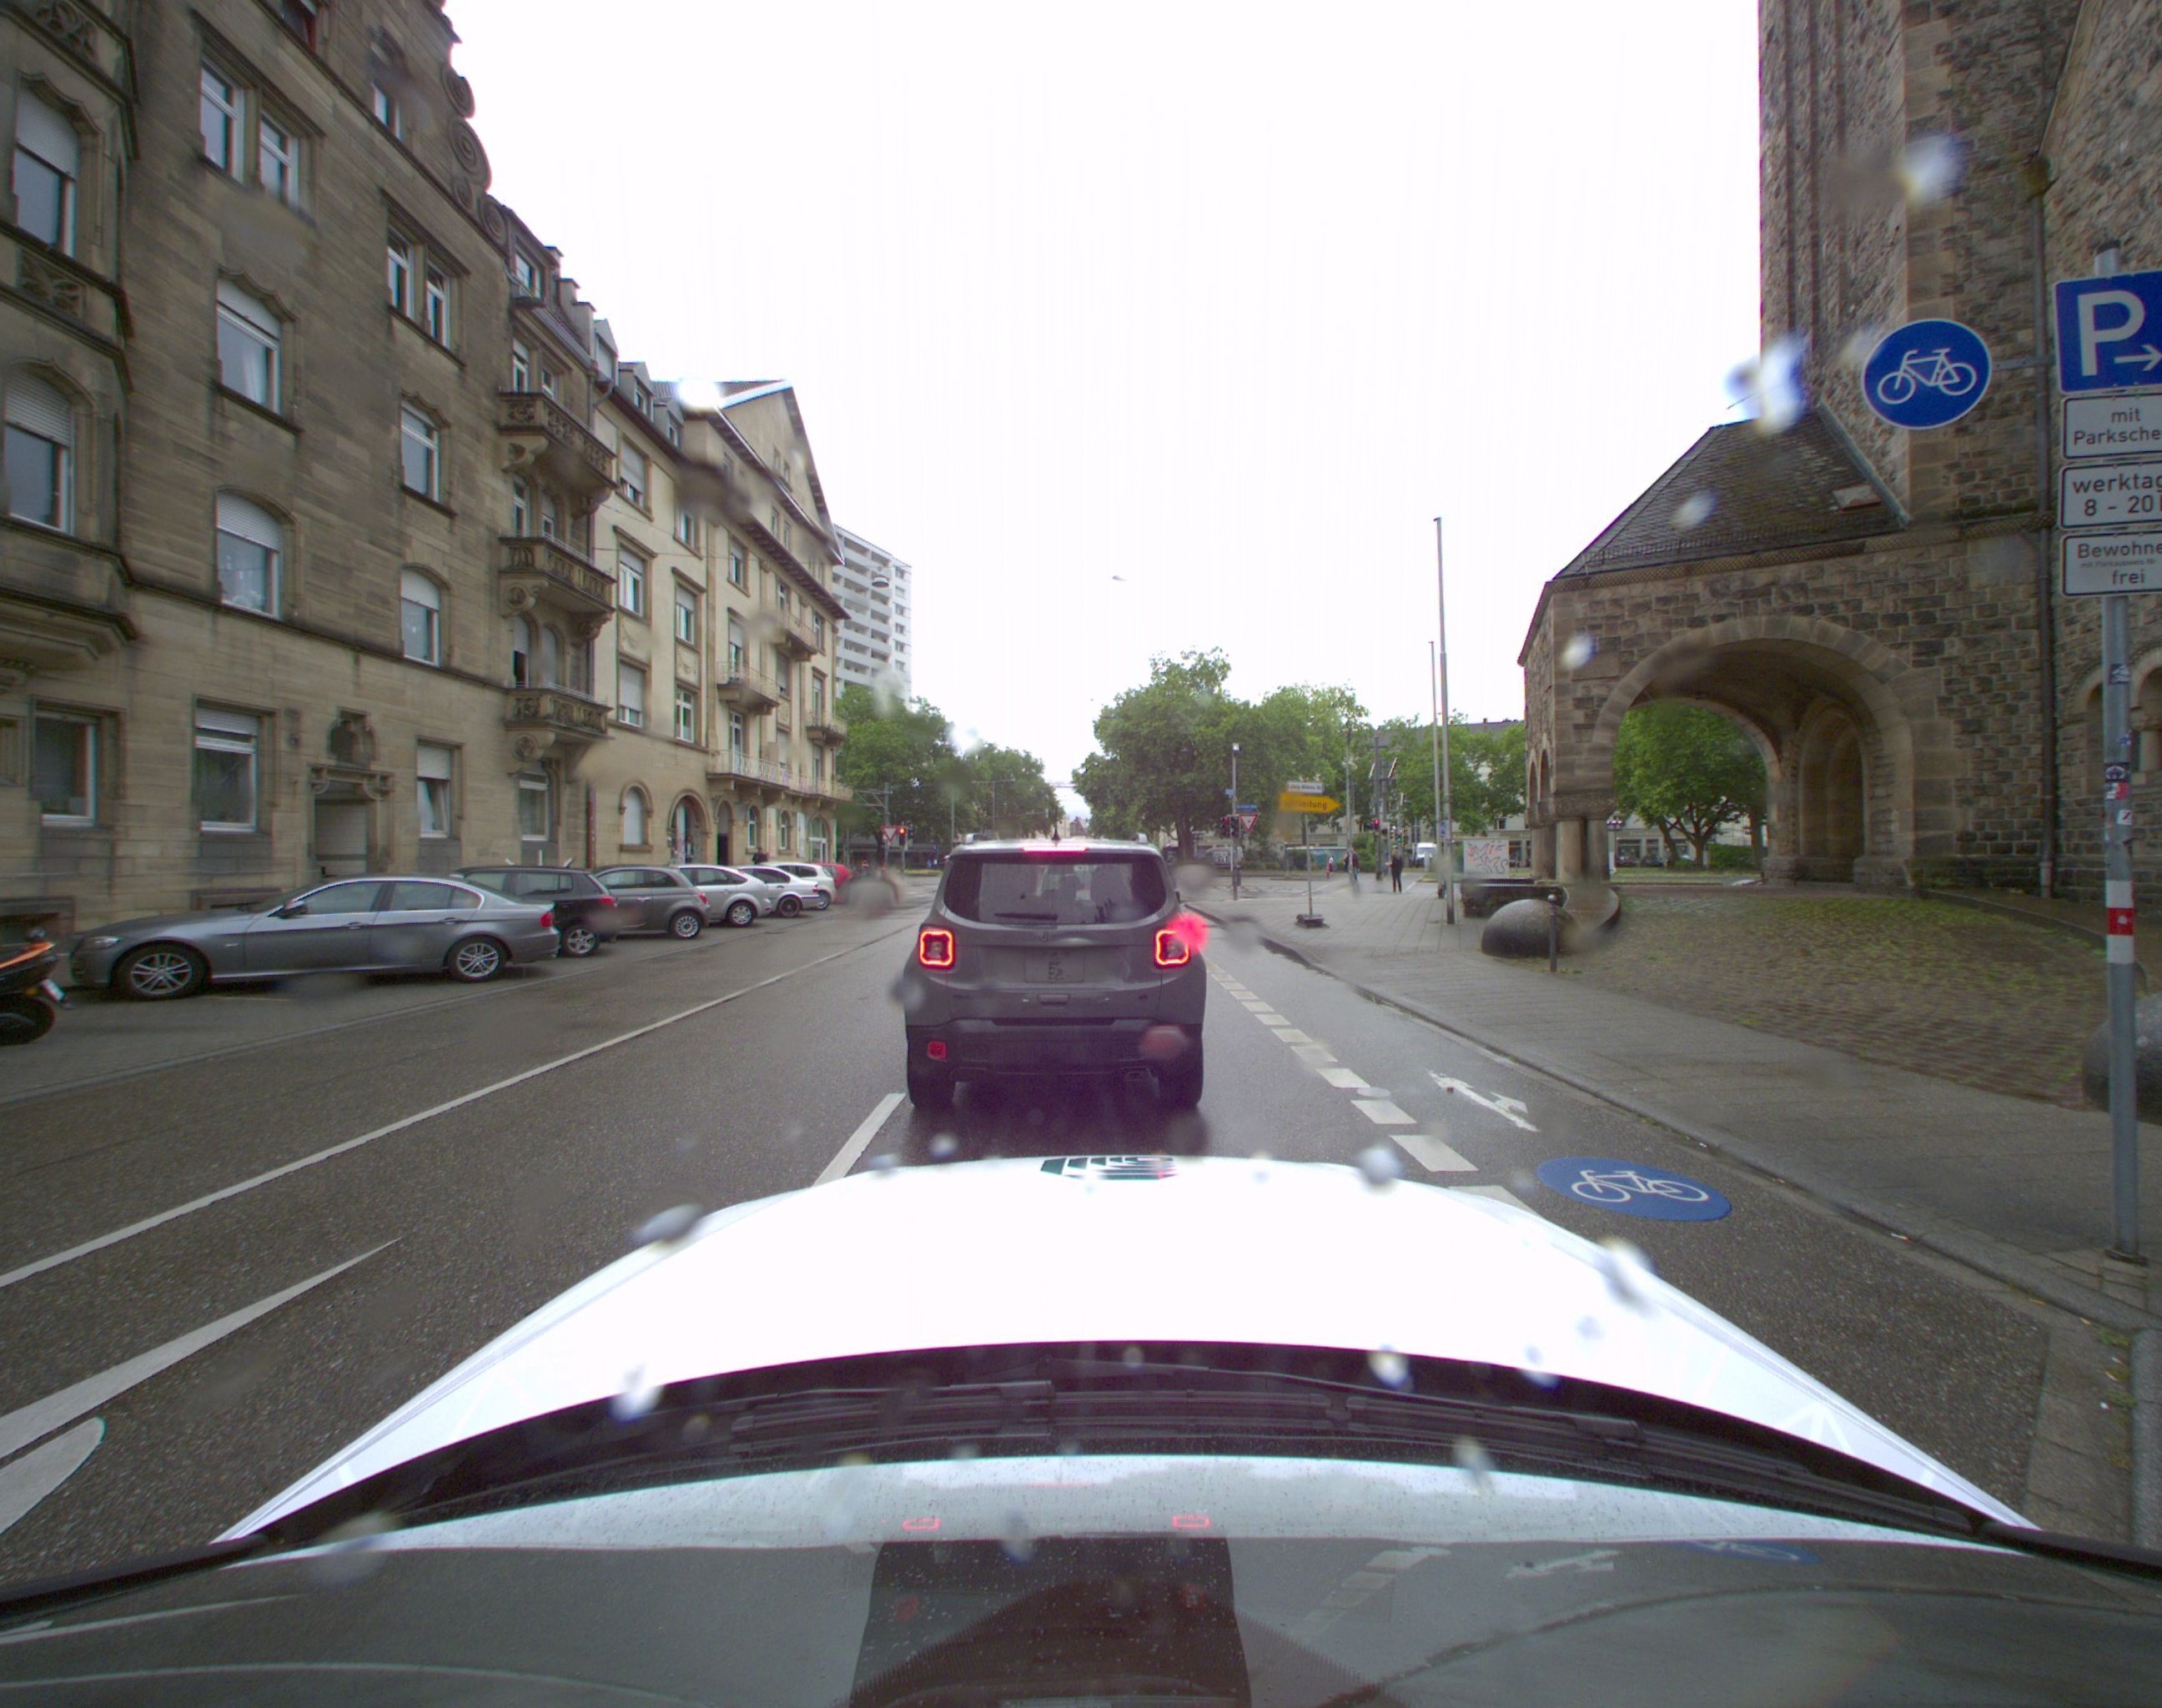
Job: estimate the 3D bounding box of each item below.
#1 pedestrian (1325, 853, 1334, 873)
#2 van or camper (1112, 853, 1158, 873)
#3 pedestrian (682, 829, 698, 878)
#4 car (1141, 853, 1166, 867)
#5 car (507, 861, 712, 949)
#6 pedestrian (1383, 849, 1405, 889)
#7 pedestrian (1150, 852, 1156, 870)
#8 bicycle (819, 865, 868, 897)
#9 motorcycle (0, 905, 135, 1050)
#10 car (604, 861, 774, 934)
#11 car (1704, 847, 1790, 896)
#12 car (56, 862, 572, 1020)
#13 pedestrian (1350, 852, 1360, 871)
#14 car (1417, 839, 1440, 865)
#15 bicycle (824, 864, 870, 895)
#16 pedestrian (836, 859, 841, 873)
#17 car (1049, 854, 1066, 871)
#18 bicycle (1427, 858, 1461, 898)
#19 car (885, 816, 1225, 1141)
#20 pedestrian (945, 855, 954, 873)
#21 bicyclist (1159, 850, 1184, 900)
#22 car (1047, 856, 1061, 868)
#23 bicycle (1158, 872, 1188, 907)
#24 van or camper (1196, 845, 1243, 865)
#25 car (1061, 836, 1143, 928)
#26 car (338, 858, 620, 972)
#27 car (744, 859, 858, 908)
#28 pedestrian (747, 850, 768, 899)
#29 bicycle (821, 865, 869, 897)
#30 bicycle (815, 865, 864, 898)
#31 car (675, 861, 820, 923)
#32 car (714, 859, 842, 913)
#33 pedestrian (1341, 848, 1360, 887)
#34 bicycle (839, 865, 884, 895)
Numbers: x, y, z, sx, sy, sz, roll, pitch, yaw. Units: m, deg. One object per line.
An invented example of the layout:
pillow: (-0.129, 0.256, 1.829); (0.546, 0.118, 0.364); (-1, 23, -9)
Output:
pedestrian: (20.208, 0.763, 66.198); (0.607, 1.603, 0.497); (-1, -1, 26)
van or camper: (8.216, 1.398, 124.762); (6.466, 2.912, 2.509); (-1, 0, 26)
pedestrian: (-14.407, -0.016, 30.014); (0.365, 1.823, 0.347); (-2, -1, -1)
car: (10.673, 0.862, 119.389); (3.411, 2.014, 1.554); (-2, -1, 15)
car: (-9.537, 0.952, 16.558); (3.419, 1.558, 1.634); (-1, 0, -38)
pedestrian: (13.042, 0.632, 33.899); (0.775, 1.645, 0.659); (-2, -1, 25)
pedestrian: (8.205, 0.820, 92.602); (0.646, 2.014, 0.484); (-1, -1, 14)
bicycle: (-9.594, 1.077, 32.886); (1.804, 1.266, 0.498); (-1, -1, -1)
motorcycle: (-9.408, 1.027, 6.768); (1.880, 1.162, 0.627); (2, -2, -36)
car: (-9.388, 0.976, 19.585); (3.419, 1.558, 1.686); (-1, 0, -38)
car: (21.463, 0.521, 26.356); (1.389, 1.479, 3.239); (-1, 0, 25)
car: (-9.410, 0.927, 10.544); (4.573, 1.545, 1.668); (-1, 0, -42)
pedestrian: (22.413, 0.603, 66.561); (0.667, 1.554, 0.766); (-1, -2, 29)
car: (35.513, -0.207, 83.202); (1.889, 2.555, 4.815); (-1, 0, 25)
bicycle: (-9.924, 1.081, 34.606); (1.758, 1.266, 0.608); (-1, -1, -1)
pedestrian: (-25.984, 1.300, 87.326); (0.443, 1.530, 0.640); (-1, -1, -15)
car: (-2.445, 0.870, 84.662); (1.717, 1.739, 3.726); (-1, 0, -2)
bicycle: (10.971, 0.703, 24.657); (0.327, 1.154, 2.079); (-1, 0, 7)
car: (-0.113, 0.669, 6.285); (1.769, 1.687, 3.848); (-2, 0, 1)
pedestrian: (-12.939, 0.981, 80.187); (0.613, 1.826, 0.698); (-2, -1, 21)
bicyclist: (3.014, 0.696, 27.246); (0.684, 1.617, 0.884); (-2, 0, 0)
car: (-3.616, 1.063, 110.248); (1.810, 1.670, 3.916); (-1, 0, -3)
bicycle: (3.035, 1.150, 27.141); (0.689, 1.021, 2.658); (-2, 0, 1)
van or camper: (16.043, 0.142, 94.619); (5.234, 2.315, 2.093); (0, 0, 5)
car: (0.508, 0.623, 19.940); (1.764, 2.013, 4.001); (-1, 0, 1)
car: (-9.779, 0.896, 13.474); (3.571, 1.598, 1.587); (-1, 0, -38)
car: (-9.765, 0.987, 28.508); (3.419, 1.558, 1.686); (-1, 0, -38)
pedestrian: (-13.380, 0.849, 33.712); (0.565, 2.014, 0.655); (-1, -1, 1)
bicycle: (-9.705, 1.090, 33.572); (1.804, 1.266, 0.498); (-1, -1, -1)
bicycle: (-9.592, 1.084, 32.338); (1.758, 1.266, 0.522); (-1, -1, -1)
car: (-9.283, 1.008, 22.768); (3.419, 1.558, 1.686); (-1, 0, -38)
car: (-9.508, 0.949, 25.633); (3.419, 1.558, 1.686); (-1, 0, -38)
pedestrian: (12.376, 0.624, 37.433); (0.780, 1.759, 0.949); (-2, -1, 16)
bicycle: (-9.566, 1.122, 35.477); (1.758, 1.266, 0.608); (-1, -1, -1)
